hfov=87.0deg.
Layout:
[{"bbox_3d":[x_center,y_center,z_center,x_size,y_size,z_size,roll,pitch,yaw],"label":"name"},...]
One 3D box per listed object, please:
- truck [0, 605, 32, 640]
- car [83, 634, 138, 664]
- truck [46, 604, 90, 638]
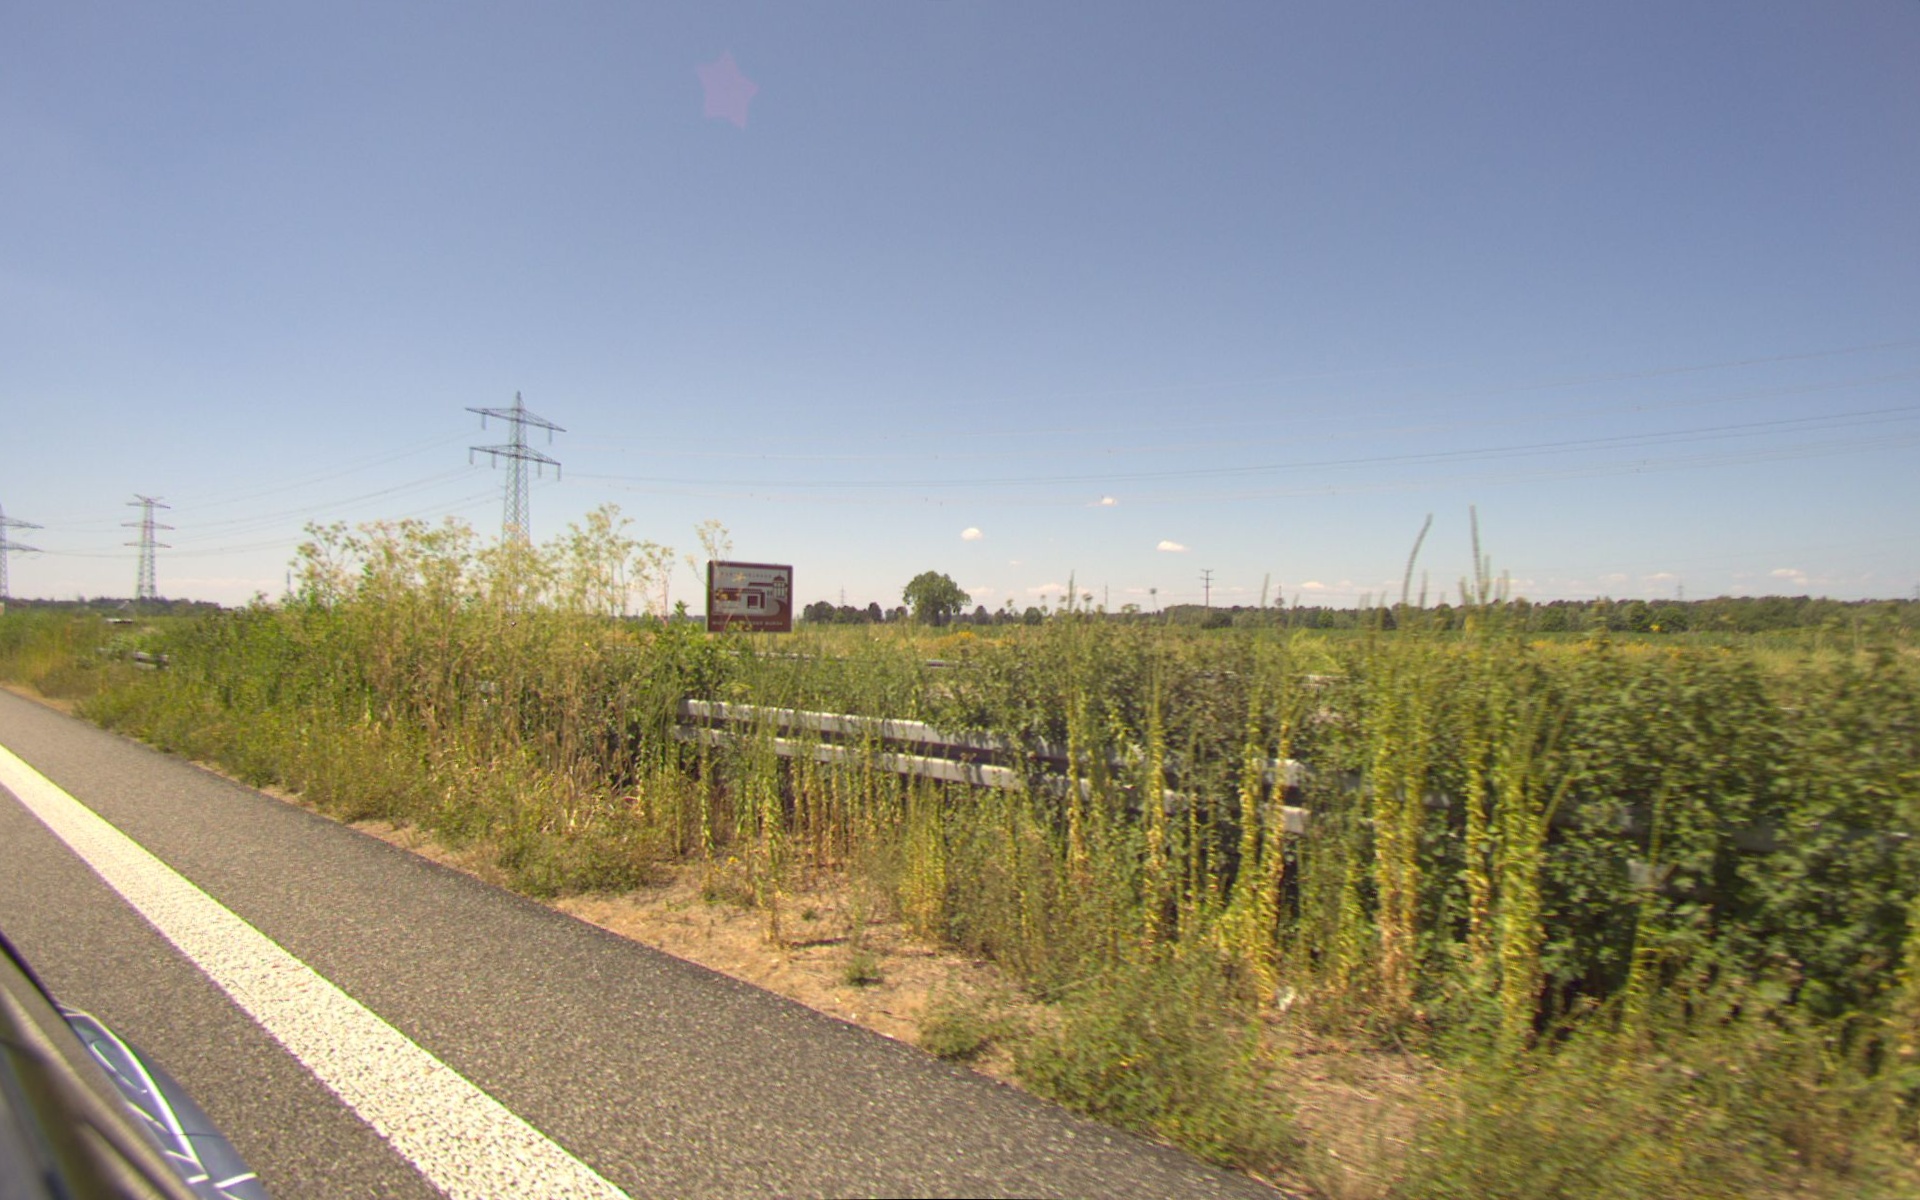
[{"bbox_3d":[-114.962,2.686,122.389,9.648,4.115,3.171,-1,-2,43],"label":"truck"},{"bbox_3d":[-51.031,2.924,60.772,4.556,1.667,1.842,-1,-2,41],"label":"car"},{"bbox_3d":[-113.596,2.655,128.777,9.648,4.115,3.171,-1,-2,43],"label":"truck"}]
